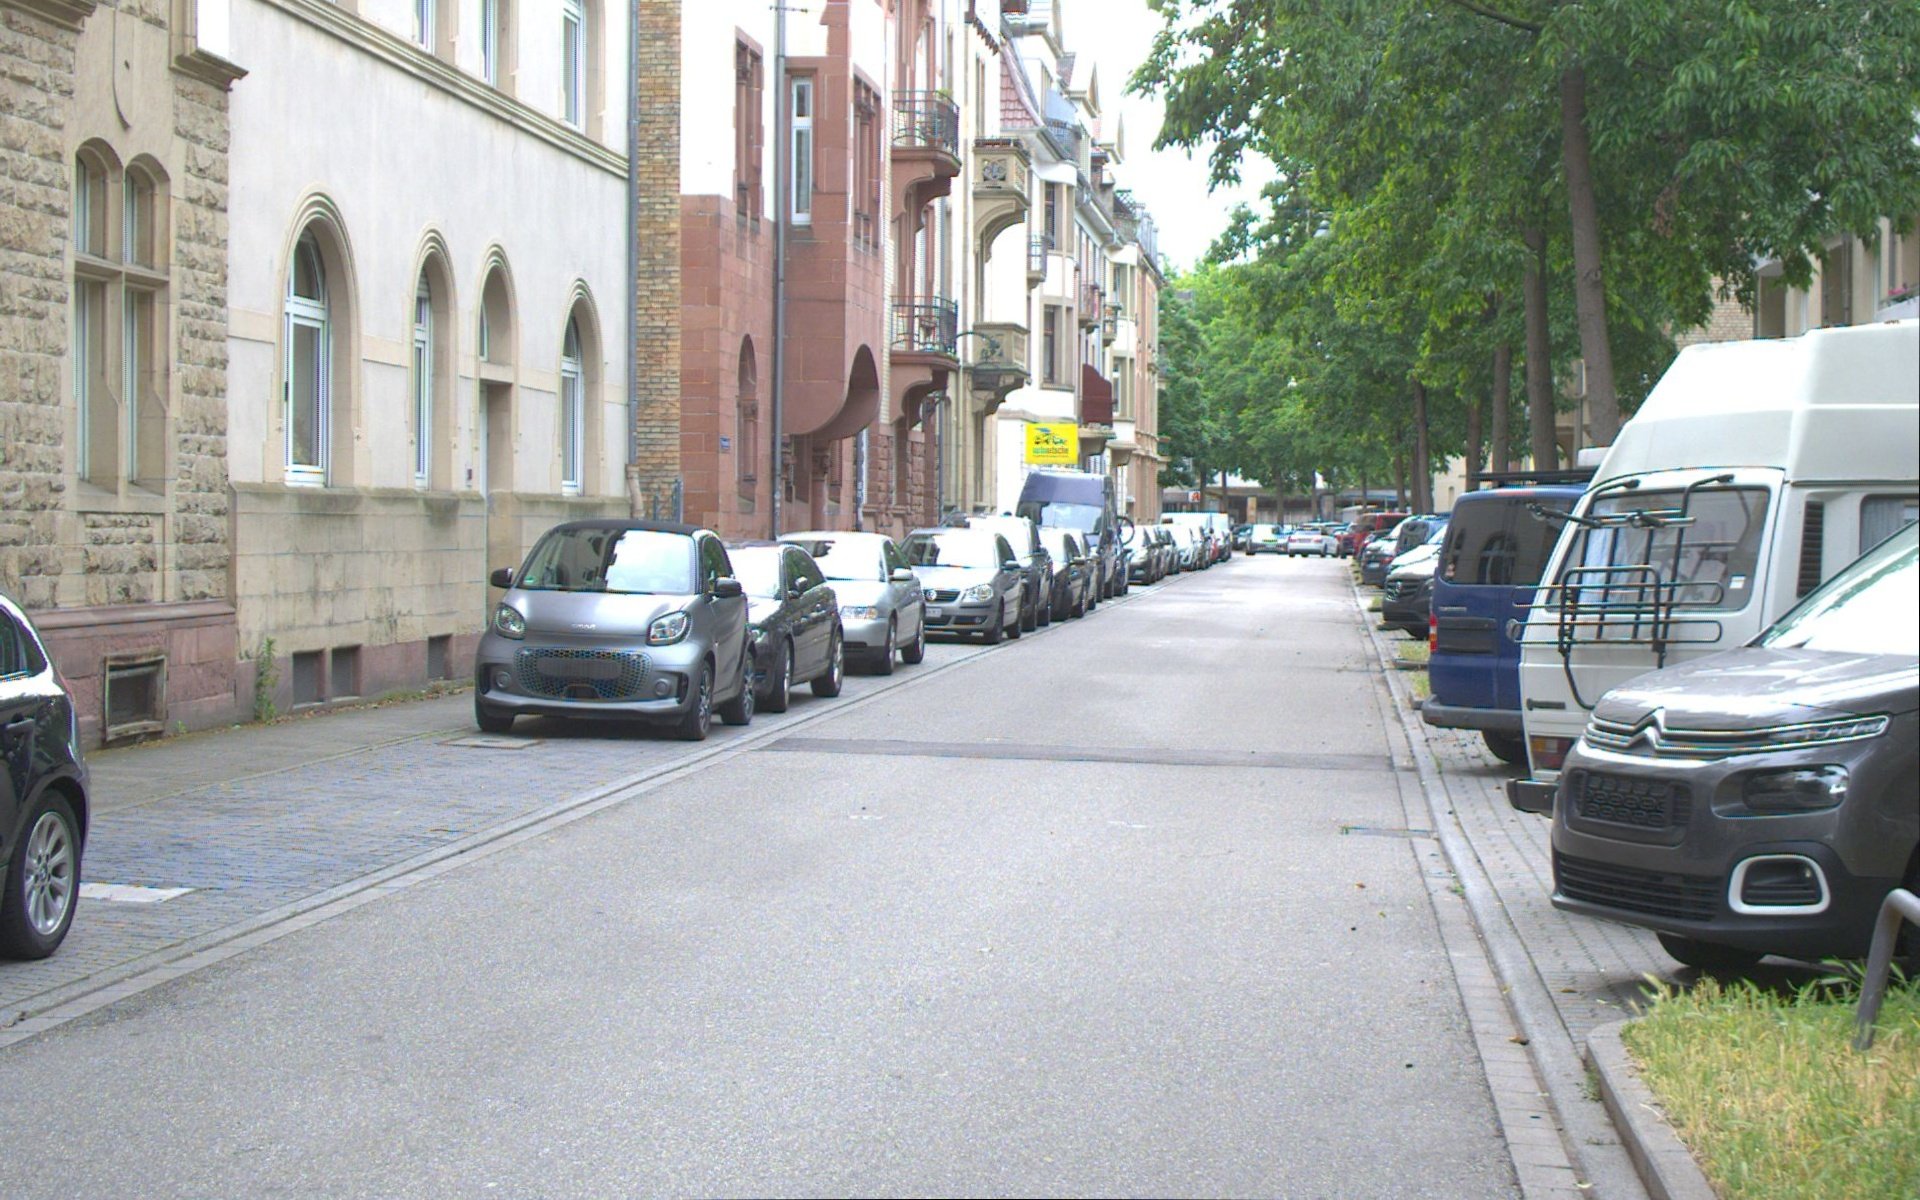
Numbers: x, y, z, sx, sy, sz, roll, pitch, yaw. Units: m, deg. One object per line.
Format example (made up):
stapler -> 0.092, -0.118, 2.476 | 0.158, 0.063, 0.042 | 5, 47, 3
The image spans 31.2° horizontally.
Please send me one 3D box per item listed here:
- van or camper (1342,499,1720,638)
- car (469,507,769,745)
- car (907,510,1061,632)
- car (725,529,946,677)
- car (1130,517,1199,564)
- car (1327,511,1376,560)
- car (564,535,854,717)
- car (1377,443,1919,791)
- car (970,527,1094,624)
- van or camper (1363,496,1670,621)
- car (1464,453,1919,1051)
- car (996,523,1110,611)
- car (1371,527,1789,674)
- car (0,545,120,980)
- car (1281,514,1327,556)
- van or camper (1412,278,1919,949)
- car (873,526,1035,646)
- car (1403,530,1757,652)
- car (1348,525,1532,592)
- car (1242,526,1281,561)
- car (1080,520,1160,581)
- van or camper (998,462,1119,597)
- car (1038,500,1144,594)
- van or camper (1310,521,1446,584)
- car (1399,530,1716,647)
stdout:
van or camper -> 8.315, -0.478, 50.075 | 5.004, 1.863, 2.128 | -2, 1, -21
car -> -2.482, 0.144, 25.616 | 1.647, 1.565, 2.956 | 2, 3, 5
car -> 0.396, -0.464, 50.362 | 1.786, 1.641, 4.361 | 2, 2, 6
car -> -1.260, -0.016, 36.455 | 1.726, 1.382, 4.136 | 2, 2, 6
car -> 6.595, -1.930, 110.489 | 1.994, 1.470, 3.999 | 1, 1, 6
car -> 17.438, -2.884, 153.189 | 1.994, 2.006, 3.999 | 4, 2, 6
car -> -2.066, 0.195, 29.348 | 1.726, 1.382, 3.928 | 2, 1, 6
car -> 5.204, 0.067, 23.797 | 4.385, 2.189, 2.067 | 0, 2, -38
car -> 1.217, -0.433, 56.376 | 1.635, 1.468, 3.999 | 2, 2, 6
van or camper -> 9.487, -0.710, 58.622 | 4.728, 1.987, 2.000 | -1, -1, -19
car -> 4.189, 0.451, 12.206 | 4.330, 1.847, 1.912 | 0, 1, -18
car -> 1.694, -0.583, 61.500 | 1.668, 1.468, 3.999 | 2, 1, 6
car -> 7.006, -0.021, 38.904 | 4.212, 1.495, 1.976 | -2, 1, -21
car -> -4.249, 0.534, 10.880 | 1.710, 1.489, 3.999 | 2, 1, 8
car -> 15.677, -2.971, 156.886 | 1.994, 1.788, 3.999 | 2, 1, 5
van or camper -> 4.464, 0.028, 15.127 | 4.581, 2.587, 1.911 | 0, 1, -26
car -> -0.040, -0.223, 45.080 | 1.663, 1.416, 3.928 | 2, 2, 6
car -> 7.987, -0.138, 44.365 | 4.038, 1.478, 1.948 | -1, 1, -19
car -> 11.583, -1.004, 82.974 | 4.009, 1.554, 1.885 | 0, 1, -24
car -> 15.130, -2.810, 172.383 | 1.821, 1.639, 3.753 | 2, 1, 6
car -> 4.098, -1.271, 87.413 | 1.790, 1.475, 4.022 | 2, 1, 6
van or camper -> 2.051, -1.462, 70.166 | 2.008, 2.642, 5.315 | 0, 2, 6
car -> 2.960, -1.206, 77.003 | 1.994, 2.007, 4.890 | 1, 1, 6
van or camper -> 14.180, -1.601, 116.681 | 4.145, 2.078, 1.953 | 0, 1, -21
car -> 8.182, -0.181, 47.096 | 3.848, 1.497, 1.913 | -1, 1, -23
